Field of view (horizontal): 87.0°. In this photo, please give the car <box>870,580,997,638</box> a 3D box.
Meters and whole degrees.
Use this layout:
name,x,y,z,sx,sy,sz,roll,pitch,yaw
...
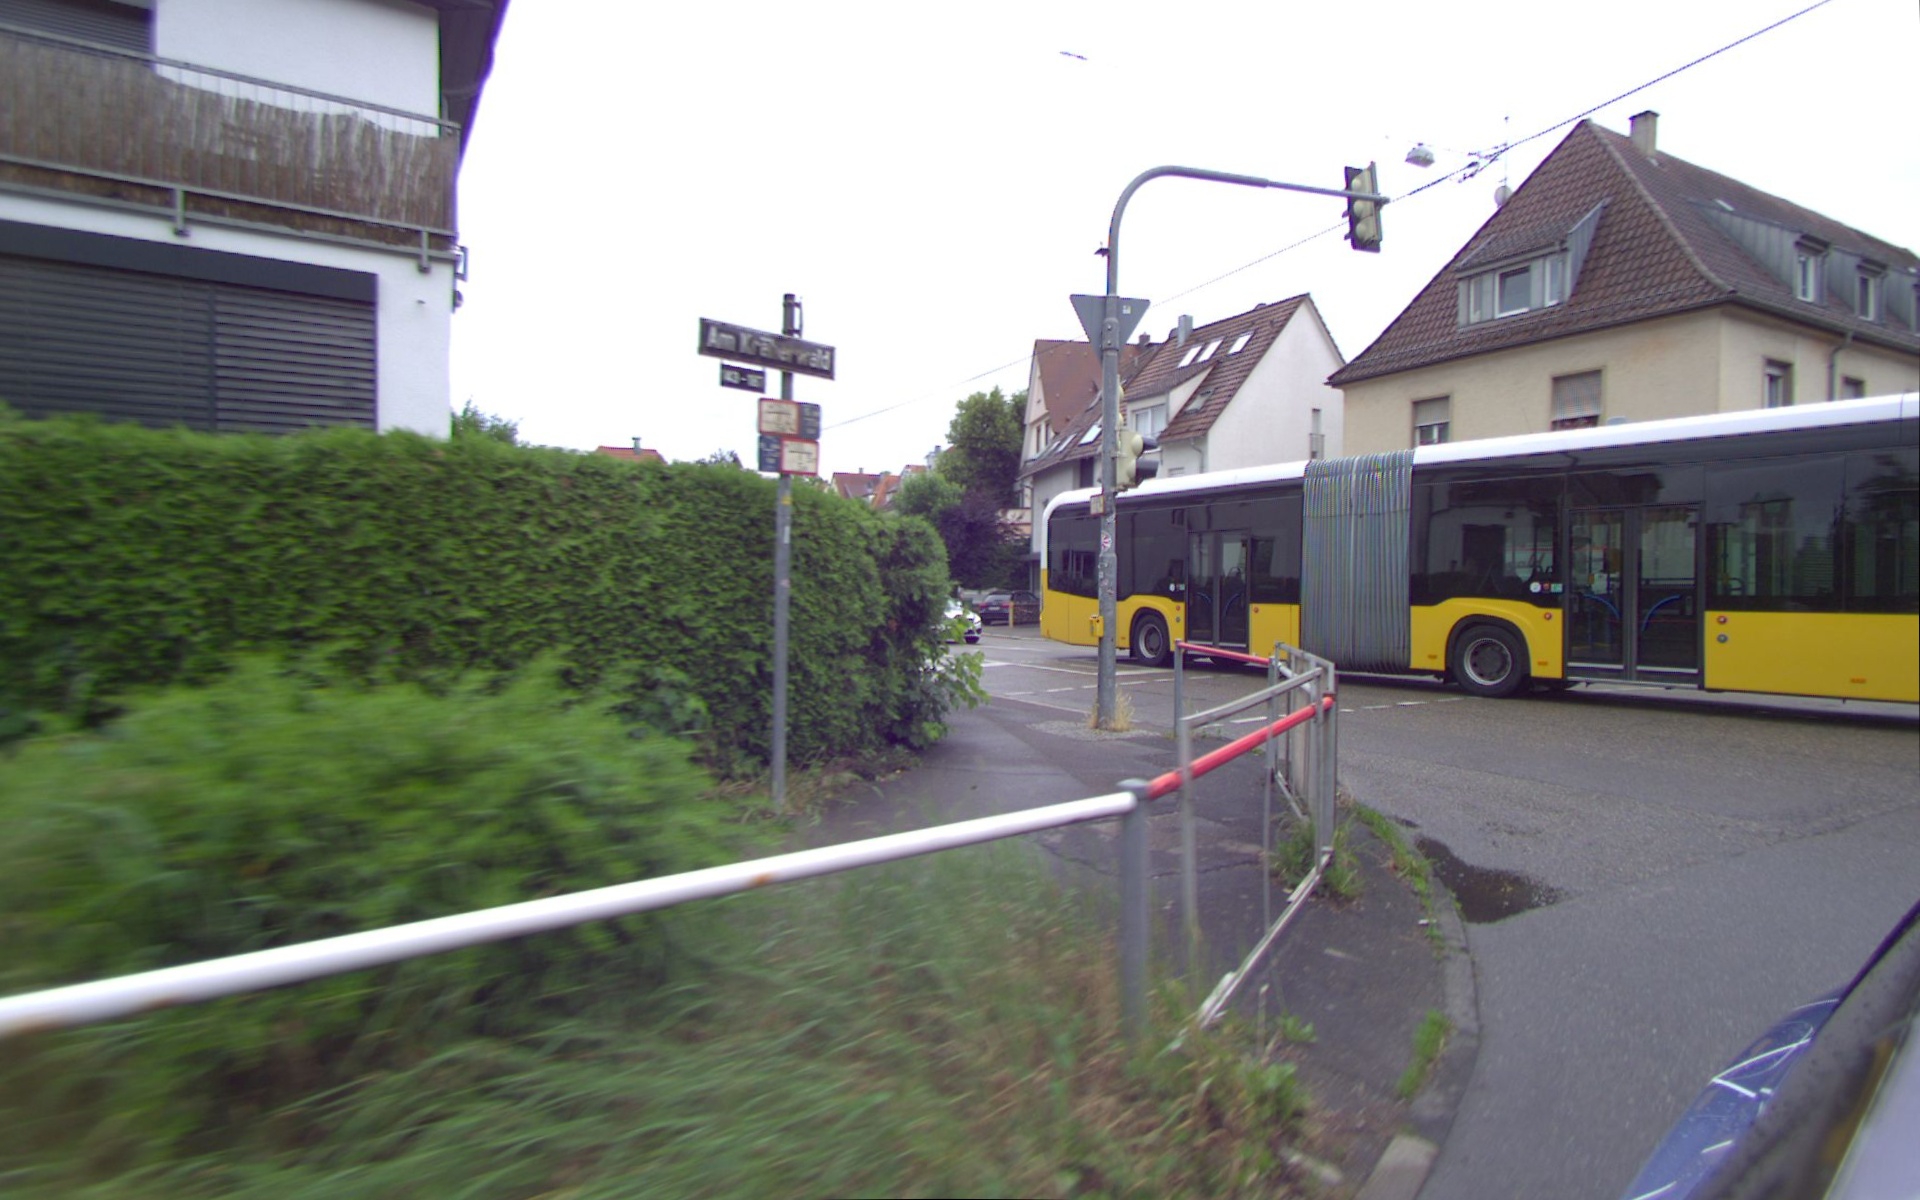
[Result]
name,x,y,z,sx,sy,sz,roll,pitch,yaw
car,-0.848,0.229,28.336,1.958,1.498,4.493,0,0,-24

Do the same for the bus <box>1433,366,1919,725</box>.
name,x,y,z,sx,sy,sz,roll,pitch,yaw
bus,10.178,-0.534,10.795,2.856,3.441,9.033,0,1,-38

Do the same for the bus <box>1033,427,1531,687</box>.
name,x,y,z,sx,sy,sz,roll,pitch,yaw
bus,4.940,-0.621,17.799,2.633,3.441,8.684,0,1,-33
